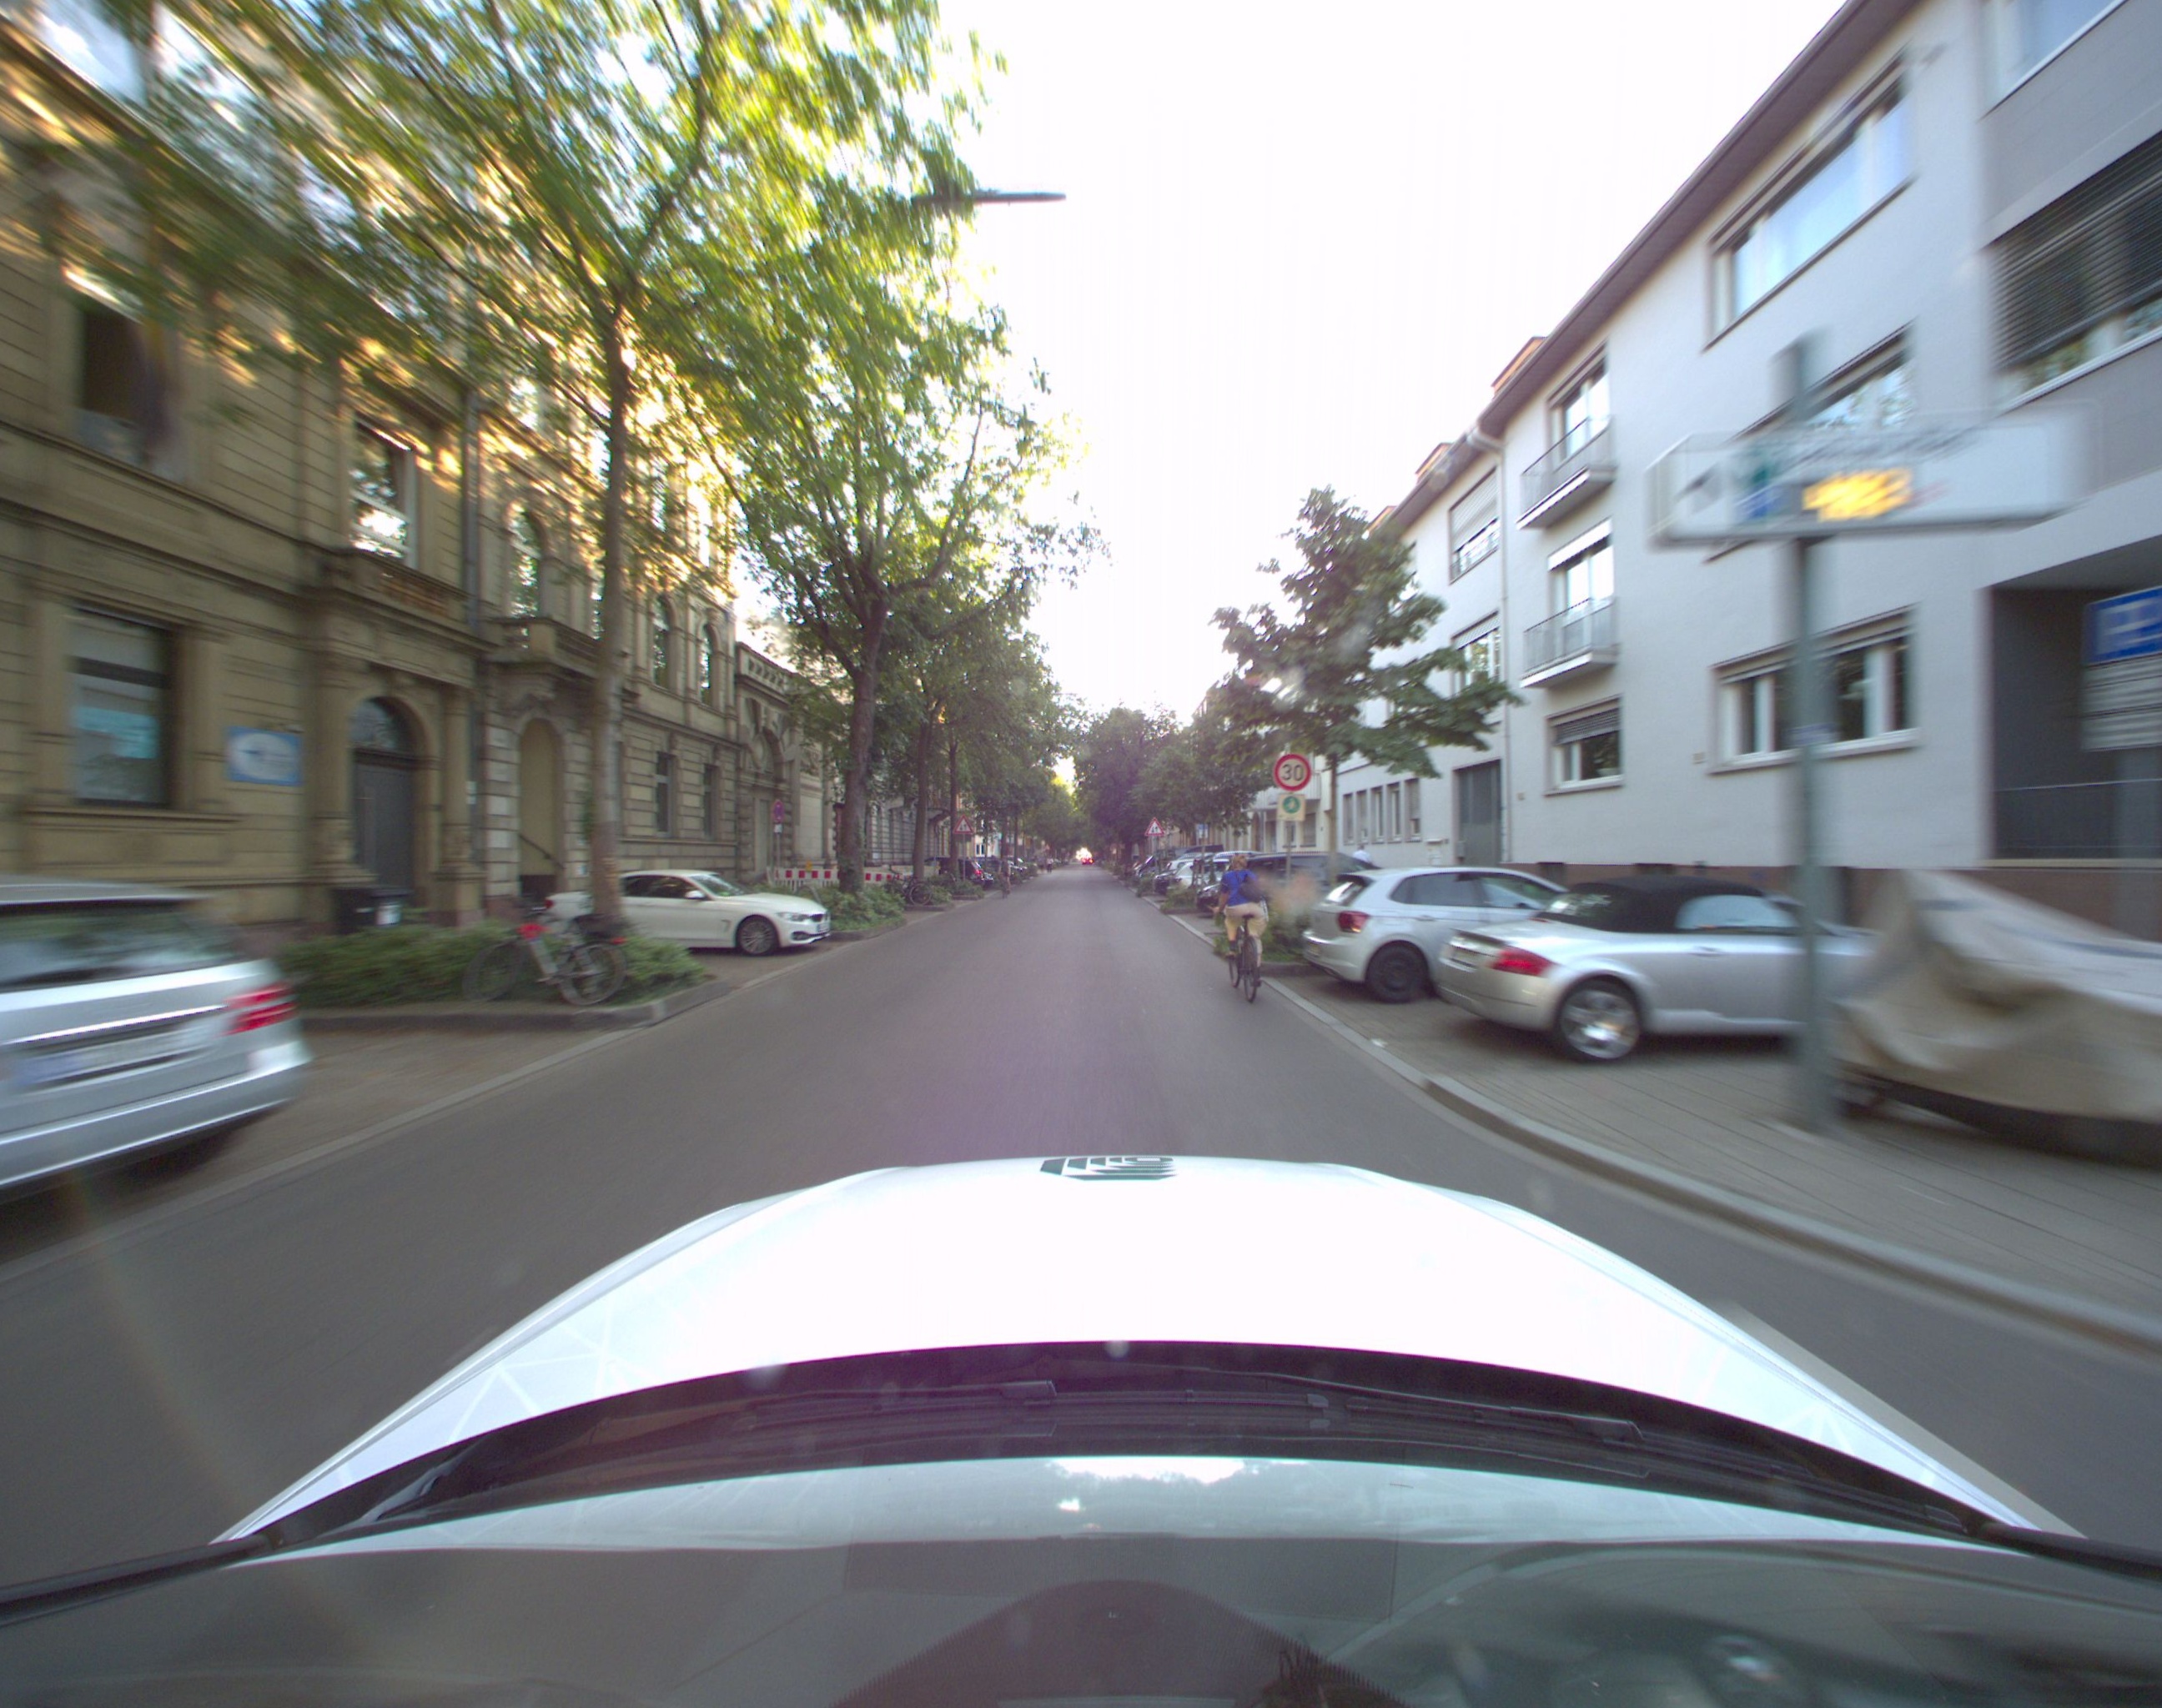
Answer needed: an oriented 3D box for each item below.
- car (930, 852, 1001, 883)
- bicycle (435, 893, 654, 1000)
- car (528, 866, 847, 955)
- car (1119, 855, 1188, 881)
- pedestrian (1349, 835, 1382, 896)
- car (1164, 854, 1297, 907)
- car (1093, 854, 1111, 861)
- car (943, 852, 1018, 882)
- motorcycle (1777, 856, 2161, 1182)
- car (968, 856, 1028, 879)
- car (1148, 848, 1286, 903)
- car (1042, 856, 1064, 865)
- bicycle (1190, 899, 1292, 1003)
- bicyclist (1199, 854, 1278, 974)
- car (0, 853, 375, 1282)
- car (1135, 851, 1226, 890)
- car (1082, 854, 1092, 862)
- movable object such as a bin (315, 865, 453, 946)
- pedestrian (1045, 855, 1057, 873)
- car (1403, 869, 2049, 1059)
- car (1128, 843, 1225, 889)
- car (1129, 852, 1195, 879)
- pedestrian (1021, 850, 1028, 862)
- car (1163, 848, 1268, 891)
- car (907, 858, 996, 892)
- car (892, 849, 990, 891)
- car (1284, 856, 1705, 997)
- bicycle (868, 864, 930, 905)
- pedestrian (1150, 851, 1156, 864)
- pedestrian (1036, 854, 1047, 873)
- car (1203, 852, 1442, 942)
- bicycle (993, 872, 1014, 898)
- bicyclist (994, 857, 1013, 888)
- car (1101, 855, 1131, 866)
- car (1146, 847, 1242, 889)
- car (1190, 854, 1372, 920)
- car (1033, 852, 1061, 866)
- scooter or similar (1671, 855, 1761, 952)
[{"bbox_3d":[-6.557,0.763,46.491,3.790,1.672,1.713,1,0,-1],"label":"car"},{"bbox_3d":[-5.405,0.918,8.268,1.788,1.009,0.598,1,-1,0],"label":"bicycle"},{"bbox_3d":[-6.553,0.916,13.920,4.496,1.390,1.917,0,0,2],"label":"car"},{"bbox_3d":[4.874,0.931,54.929,4.389,1.394,1.884,-4,0,-2],"label":"car"},{"bbox_3d":[8.607,0.349,24.652,0.695,1.795,0.881,-1,0,1],"label":"pedestrian"},{"bbox_3d":[4.901,0.855,27.115,4.059,1.429,1.819,-4,0,2],"label":"car"},{"bbox_3d":[5.088,0.845,200.485,4.255,1.565,1.962,-2,-1,0],"label":"car"},{"bbox_3d":[-6.001,0.773,48.924,4.187,1.672,1.907,1,0,0],"label":"car"},{"bbox_3d":[4.845,0.723,4.009,1.894,1.392,1.003,-1,-1,13],"label":"motorcycle"},{"bbox_3d":[-5.646,0.937,55.825,3.933,1.532,1.907,0,-1,-1],"label":"car"},{"bbox_3d":[4.827,0.753,29.337,4.577,1.578,1.943,-4,0,-1],"label":"car"},{"bbox_3d":[-5.451,1.243,157.436,4.190,1.635,1.962,-2,-1,0],"label":"car"},{"bbox_3d":[1.853,1.098,9.707,0.671,1.030,1.973,1,-1,-5],"label":"bicycle"},{"bbox_3d":[1.865,0.690,9.708,0.672,1.364,0.773,1,-1,-11],"label":"bicyclist"},{"bbox_3d":[-5.969,0.776,3.589,4.154,1.557,1.828,0,0,2],"label":"car"},{"bbox_3d":[4.826,0.782,39.880,4.144,1.578,1.968,-4,0,-2],"label":"car"},{"bbox_3d":[1.162,0.866,166.787,1.950,1.565,4.282,-2,-1,0],"label":"car"},{"bbox_3d":[-9.913,0.703,11.641,0.798,1.062,1.316,2,0,0],"label":"movable object such as a bin"},{"bbox_3d":[-2.854,0.913,77.294,0.799,1.670,0.824,-1,-1,-28],"label":"pedestrian"},{"bbox_3d":[5.034,0.826,6.852,3.970,1.333,1.796,-1,0,3],"label":"car"},{"bbox_3d":[4.929,0.610,42.427,4.675,2.011,2.036,-4,0,-1],"label":"car"},{"bbox_3d":[5.169,0.724,52.456,3.976,1.437,1.925,-4,0,-2],"label":"car"},{"bbox_3d":[-8.212,0.255,118.637,0.697,1.757,0.744,-1,-1,24],"label":"pedestrian"},{"bbox_3d":[5.260,0.600,32.232,3.782,1.423,1.697,-4,0,-2],"label":"car"},{"bbox_3d":[-6.280,0.991,39.740,3.951,1.387,1.765,3,1,1],"label":"car"},{"bbox_3d":[-6.220,0.702,36.487,3.952,1.596,1.780,3,-1,0],"label":"car"},{"bbox_3d":[4.556,0.761,9.423,3.973,1.437,1.794,-1,0,0],"label":"car"},{"bbox_3d":[-5.549,0.920,24.901,1.762,1.232,0.501,0,-2,5],"label":"bicycle"},{"bbox_3d":[8.770,0.429,99.738,0.652,1.536,0.831,-1,0,1],"label":"pedestrian"},{"bbox_3d":[-3.738,0.919,77.110,0.799,1.737,0.824,-1,-1,-28],"label":"pedestrian"},{"bbox_3d":[4.579,0.786,15.929,4.095,1.617,1.961,-1,0,0],"label":"car"},{"bbox_3d":[-3.179,1.273,33.520,0.670,0.993,1.758,-1,0,1],"label":"bicycle"},{"bbox_3d":[-3.186,0.754,33.445,0.670,1.263,0.648,-1,0,0],"label":"bicyclist"},{"bbox_3d":[5.568,0.995,128.885,4.700,1.710,1.950,0,0,1],"label":"car"},{"bbox_3d":[5.055,0.624,36.817,3.954,1.578,1.850,-4,0,-1],"label":"car"},{"bbox_3d":[5.126,0.826,21.269,4.302,1.496,1.793,-2,0,-1],"label":"car"},{"bbox_3d":[-5.731,0.841,137.281,4.667,2.478,2.000,0,-1,0],"label":"car"},{"bbox_3d":[8.696,0.636,11.209,0.343,1.239,1.425,0,0,10],"label":"scooter or similar"}]
